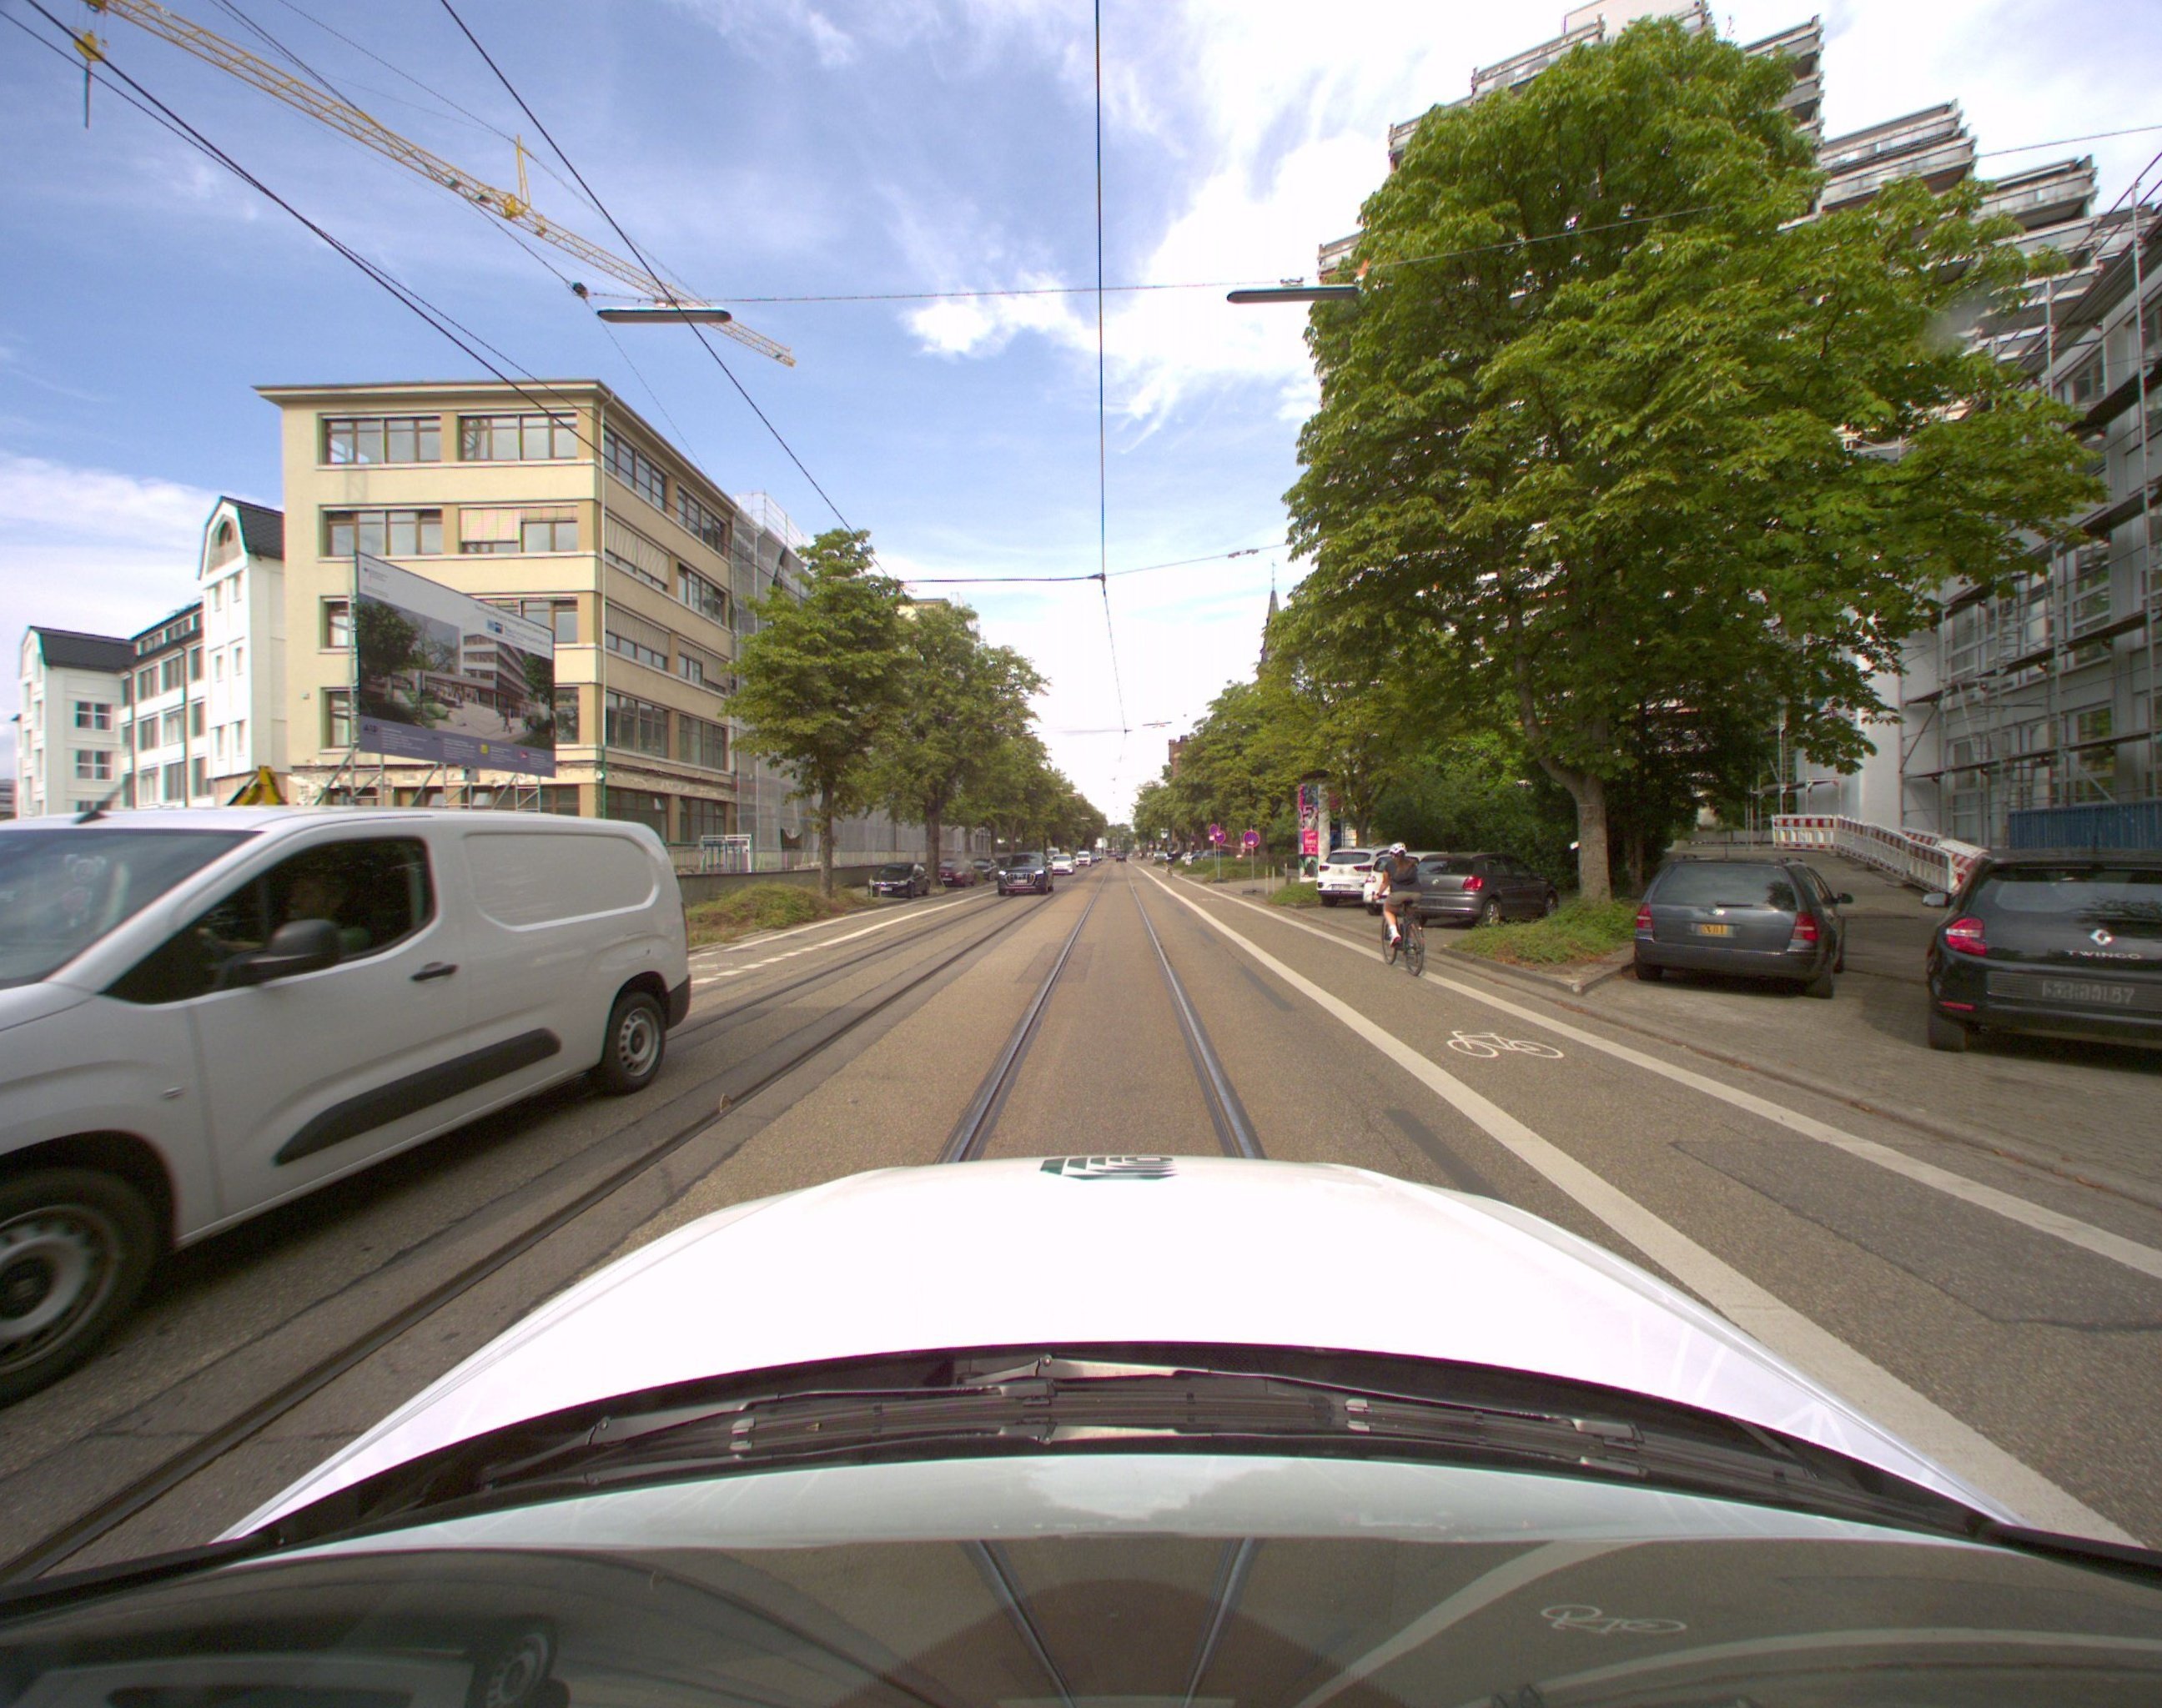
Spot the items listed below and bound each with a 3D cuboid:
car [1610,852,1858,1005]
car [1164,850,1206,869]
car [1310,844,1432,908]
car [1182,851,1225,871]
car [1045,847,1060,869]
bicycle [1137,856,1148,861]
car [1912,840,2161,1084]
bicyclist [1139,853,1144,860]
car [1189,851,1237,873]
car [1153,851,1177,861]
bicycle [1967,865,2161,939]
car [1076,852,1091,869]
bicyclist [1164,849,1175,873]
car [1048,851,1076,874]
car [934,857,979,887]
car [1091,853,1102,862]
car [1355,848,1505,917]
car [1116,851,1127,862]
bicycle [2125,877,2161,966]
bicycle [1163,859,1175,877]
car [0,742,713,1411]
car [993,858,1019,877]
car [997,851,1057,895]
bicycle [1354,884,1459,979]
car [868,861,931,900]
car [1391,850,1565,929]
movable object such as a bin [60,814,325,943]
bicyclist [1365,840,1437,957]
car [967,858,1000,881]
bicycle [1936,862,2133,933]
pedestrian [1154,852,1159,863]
[{"bbox_3d":[7.878,0.701,9.674,4.194,1.415,1.794,0,-1,-45],"label":"car"},{"bbox_3d":[9.009,0.488,70.488,3.667,1.602,1.661,0,-1,-43],"label":"car"},{"bbox_3d":[8.049,0.560,22.485,3.667,1.602,1.661,0,-1,-43],"label":"car"},{"bbox_3d":[10.320,0.595,68.306,3.667,1.602,1.661,0,-1,-43],"label":"car"},{"bbox_3d":[-3.714,0.509,106.772,1.715,2.704,5.470,0,0,0],"label":"car"},{"bbox_3d":[12.610,0.922,166.888,2.260,1.189,0.771,-1,0,10],"label":"bicycle"},{"bbox_3d":[7.883,0.665,6.486,3.436,1.537,1.577,-1,0,-41],"label":"car"},{"bbox_3d":[12.450,0.471,166.913,0.841,1.504,0.771,-1,0,9],"label":"bicyclist"},{"bbox_3d":[9.999,0.594,61.510,3.667,1.602,1.661,0,-1,-43],"label":"car"},{"bbox_3d":[14.870,0.392,144.620,3.978,1.693,1.998,-1,0,-3],"label":"car"},{"bbox_3d":[14.747,0.688,12.158,1.952,1.043,0.598,-1,0,30],"label":"bicycle"},{"bbox_3d":[0.316,0.694,93.892,1.726,1.884,4.378,-1,0,0],"label":"car"},{"bbox_3d":[5.614,0.416,51.851,0.656,1.496,0.930,-1,0,3],"label":"bicyclist"},{"bbox_3d":[-1.334,0.624,59.974,1.725,1.612,4.337,-1,0,2],"label":"car"},{"bbox_3d":[-6.552,0.944,43.215,1.629,1.496,3.964,0,0,2],"label":"car"},{"bbox_3d":[2.532,0.540,131.623,1.725,1.496,4.381,-1,0,2],"label":"car"},{"bbox_3d":[8.292,0.622,19.260,3.663,1.474,1.663,0,-1,-37],"label":"car"},{"bbox_3d":[6.658,0.349,133.906,1.788,1.824,4.680,0,0,2],"label":"car"},{"bbox_3d":[13.611,0.785,9.420,1.817,1.043,0.456,-2,-1,31],"label":"bicycle"},{"bbox_3d":[5.613,0.880,51.842,0.661,1.043,1.842,-1,0,3],"label":"bicycle"},{"bbox_3d":[-3.790,0.608,3.908,1.788,1.824,4.680,0,0,2],"label":"car"},{"bbox_3d":[-5.778,0.994,62.723,1.585,1.402,3.962,0,0,0],"label":"car"},{"bbox_3d":[-2.068,0.710,32.531,1.839,1.612,4.338,-1,0,3],"label":"car"},{"bbox_3d":[4.181,0.949,10.635,0.591,1.043,1.978,-1,0,0],"label":"bicycle"},{"bbox_3d":[-7.173,1.018,32.563,1.585,1.402,3.962,0,0,0],"label":"car"},{"bbox_3d":[8.021,0.638,16.337,3.663,1.419,1.663,0,-1,-37],"label":"car"},{"bbox_3d":[-18.355,0.494,16.960,3.030,2.443,2.506,-1,-1,12],"label":"movable object such as a bin"},{"bbox_3d":[4.182,0.558,10.685,0.591,1.459,0.875,-1,0,0],"label":"bicyclist"},{"bbox_3d":[-6.235,0.952,52.415,1.585,1.402,3.962,0,0,0],"label":"car"},{"bbox_3d":[15.112,0.655,12.992,1.952,1.043,0.598,0,0,39],"label":"bicycle"},{"bbox_3d":[13.437,0.617,144.416,0.741,1.790,0.734,-1,-1,17],"label":"pedestrian"}]
